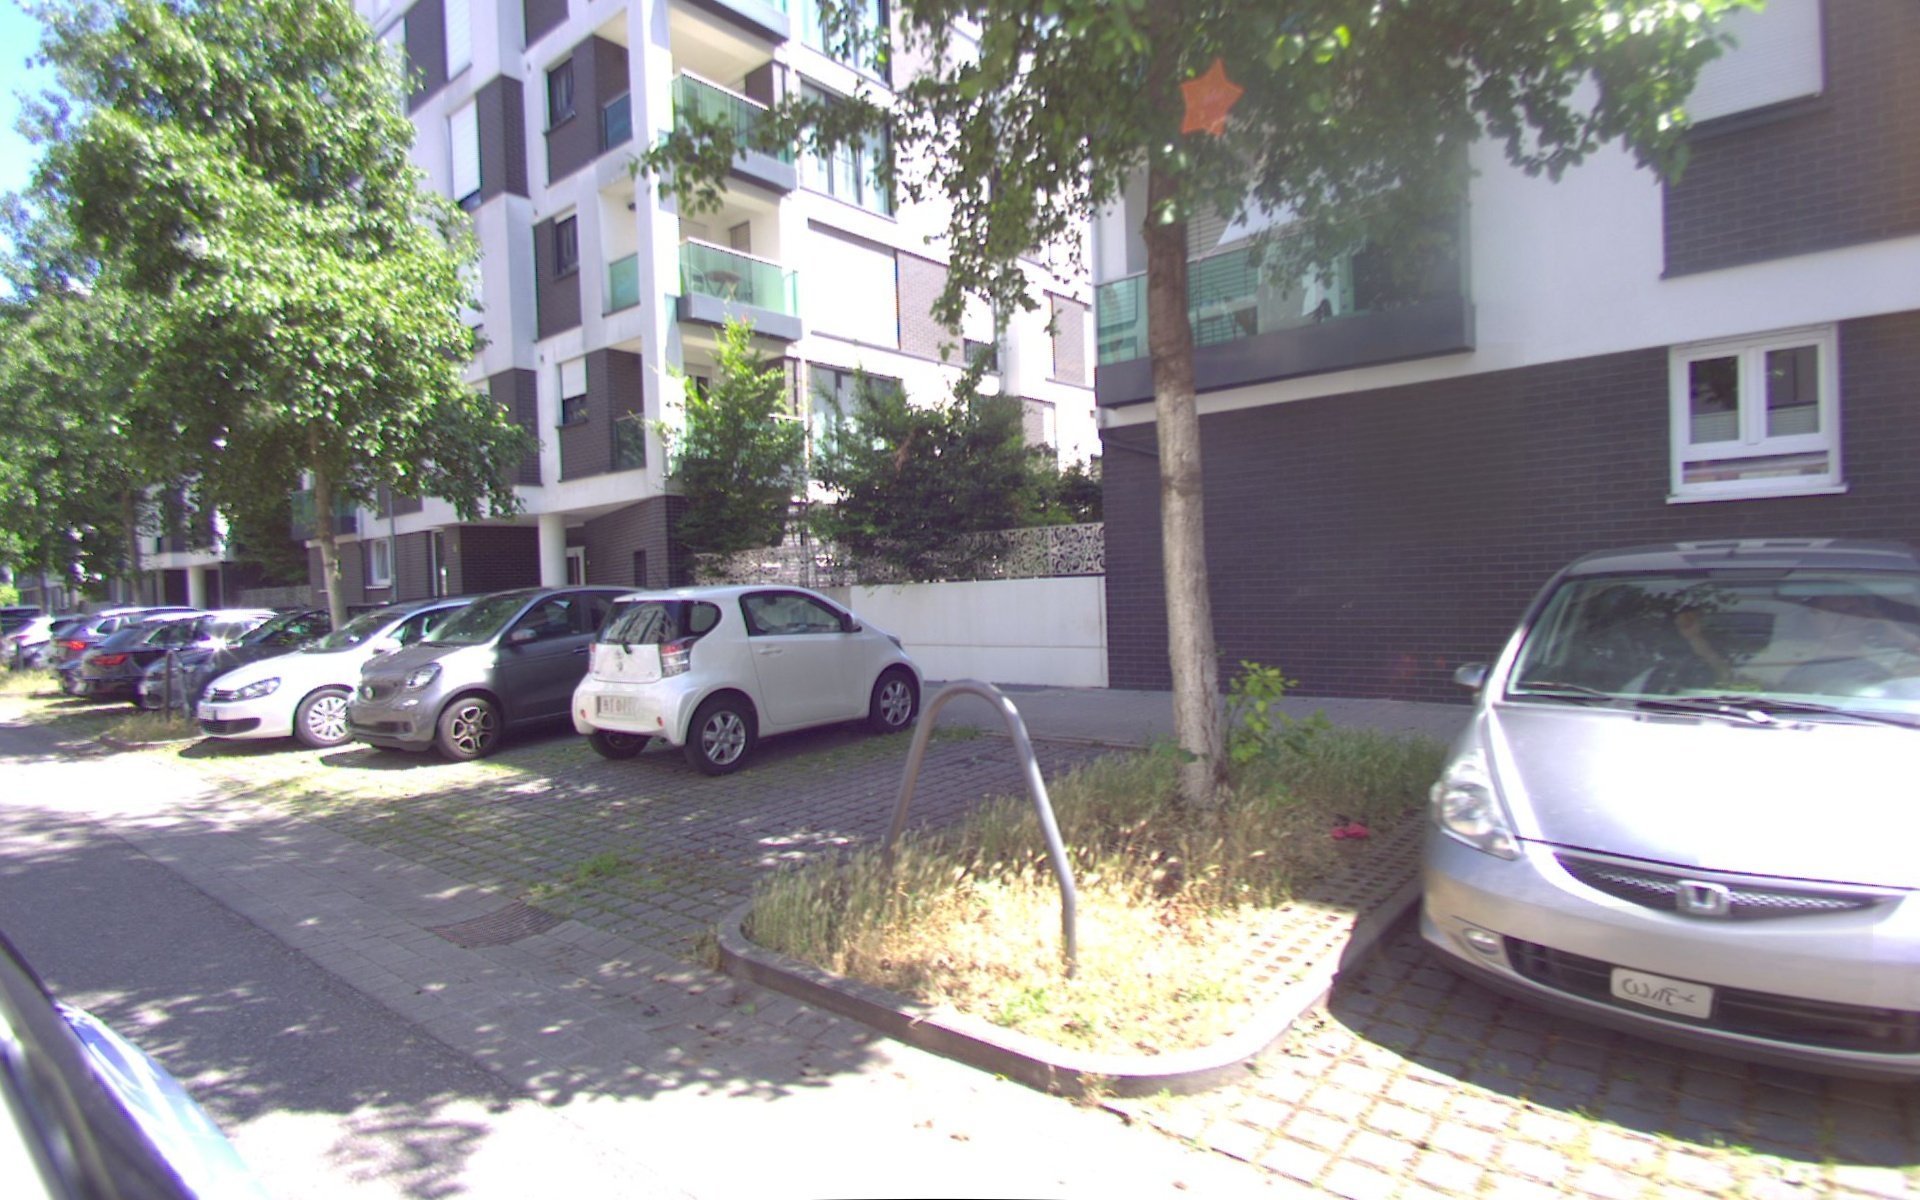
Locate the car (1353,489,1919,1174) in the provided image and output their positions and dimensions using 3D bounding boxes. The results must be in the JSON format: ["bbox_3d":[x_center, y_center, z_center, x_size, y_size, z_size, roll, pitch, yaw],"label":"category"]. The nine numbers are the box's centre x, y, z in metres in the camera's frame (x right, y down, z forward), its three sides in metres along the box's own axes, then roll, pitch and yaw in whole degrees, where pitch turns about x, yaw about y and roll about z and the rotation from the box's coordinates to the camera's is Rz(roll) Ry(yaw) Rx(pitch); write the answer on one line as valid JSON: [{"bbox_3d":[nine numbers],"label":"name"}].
[{"bbox_3d":[3.178,0.434,3.991,1.870,1.565,3.899,-2,2,40],"label":"car"}]

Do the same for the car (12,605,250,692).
[{"bbox_3d":[-19.150,1.056,23.506,1.883,1.603,3.947,-2,2,41],"label":"car"}]

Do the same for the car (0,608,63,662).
[{"bbox_3d":[-39.799,1.478,40.726,2.187,2.126,5.286,-2,0,42],"label":"car"}]

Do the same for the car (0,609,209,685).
[{"bbox_3d":[-22.833,1.177,26.899,1.923,1.528,4.211,-2,3,40],"label":"car"}]

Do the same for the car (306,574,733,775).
[{"bbox_3d":[-4.447,0.621,10.704,1.816,1.597,3.677,-2,2,35],"label":"car"}]

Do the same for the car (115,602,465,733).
[{"bbox_3d":[-9.835,0.888,15.085,1.896,1.432,3.946,-2,2,41],"label":"car"}]

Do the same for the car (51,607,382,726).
[{"bbox_3d":[-11.916,0.972,16.455,1.772,1.456,3.939,-2,2,36],"label":"car"}]

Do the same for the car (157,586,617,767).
[{"bbox_3d":[-6.532,0.755,11.970,1.997,1.723,4.319,-2,-1,38],"label":"car"}]

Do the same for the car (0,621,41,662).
[{"bbox_3d":[-37.806,1.682,38.752,1.676,1.492,3.588,-2,2,39],"label":"car"}]

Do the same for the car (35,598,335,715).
[{"bbox_3d":[-13.856,0.923,18.258,1.918,1.663,3.945,-2,2,42],"label":"car"}]

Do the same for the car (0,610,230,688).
[{"bbox_3d":[-21.056,1.152,25.214,1.791,1.486,4.274,-2,2,40],"label":"car"}]

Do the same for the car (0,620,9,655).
[{"bbox_3d":[-47.661,1.939,47.164,1.962,1.605,4.520,-2,2,35],"label":"car"}]

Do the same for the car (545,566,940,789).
[{"bbox_3d":[-1.849,0.553,9.133,1.846,1.511,2.905,-2,3,39],"label":"car"}]

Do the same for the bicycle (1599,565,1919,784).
[{"bbox_3d":[4.999,0.415,6.163,1.774,1.199,0.560,-2,0,43],"label":"bicycle"}]

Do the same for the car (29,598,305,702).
[{"bbox_3d":[-15.616,0.906,20.088,1.932,1.641,3.947,-2,2,40],"label":"car"}]
